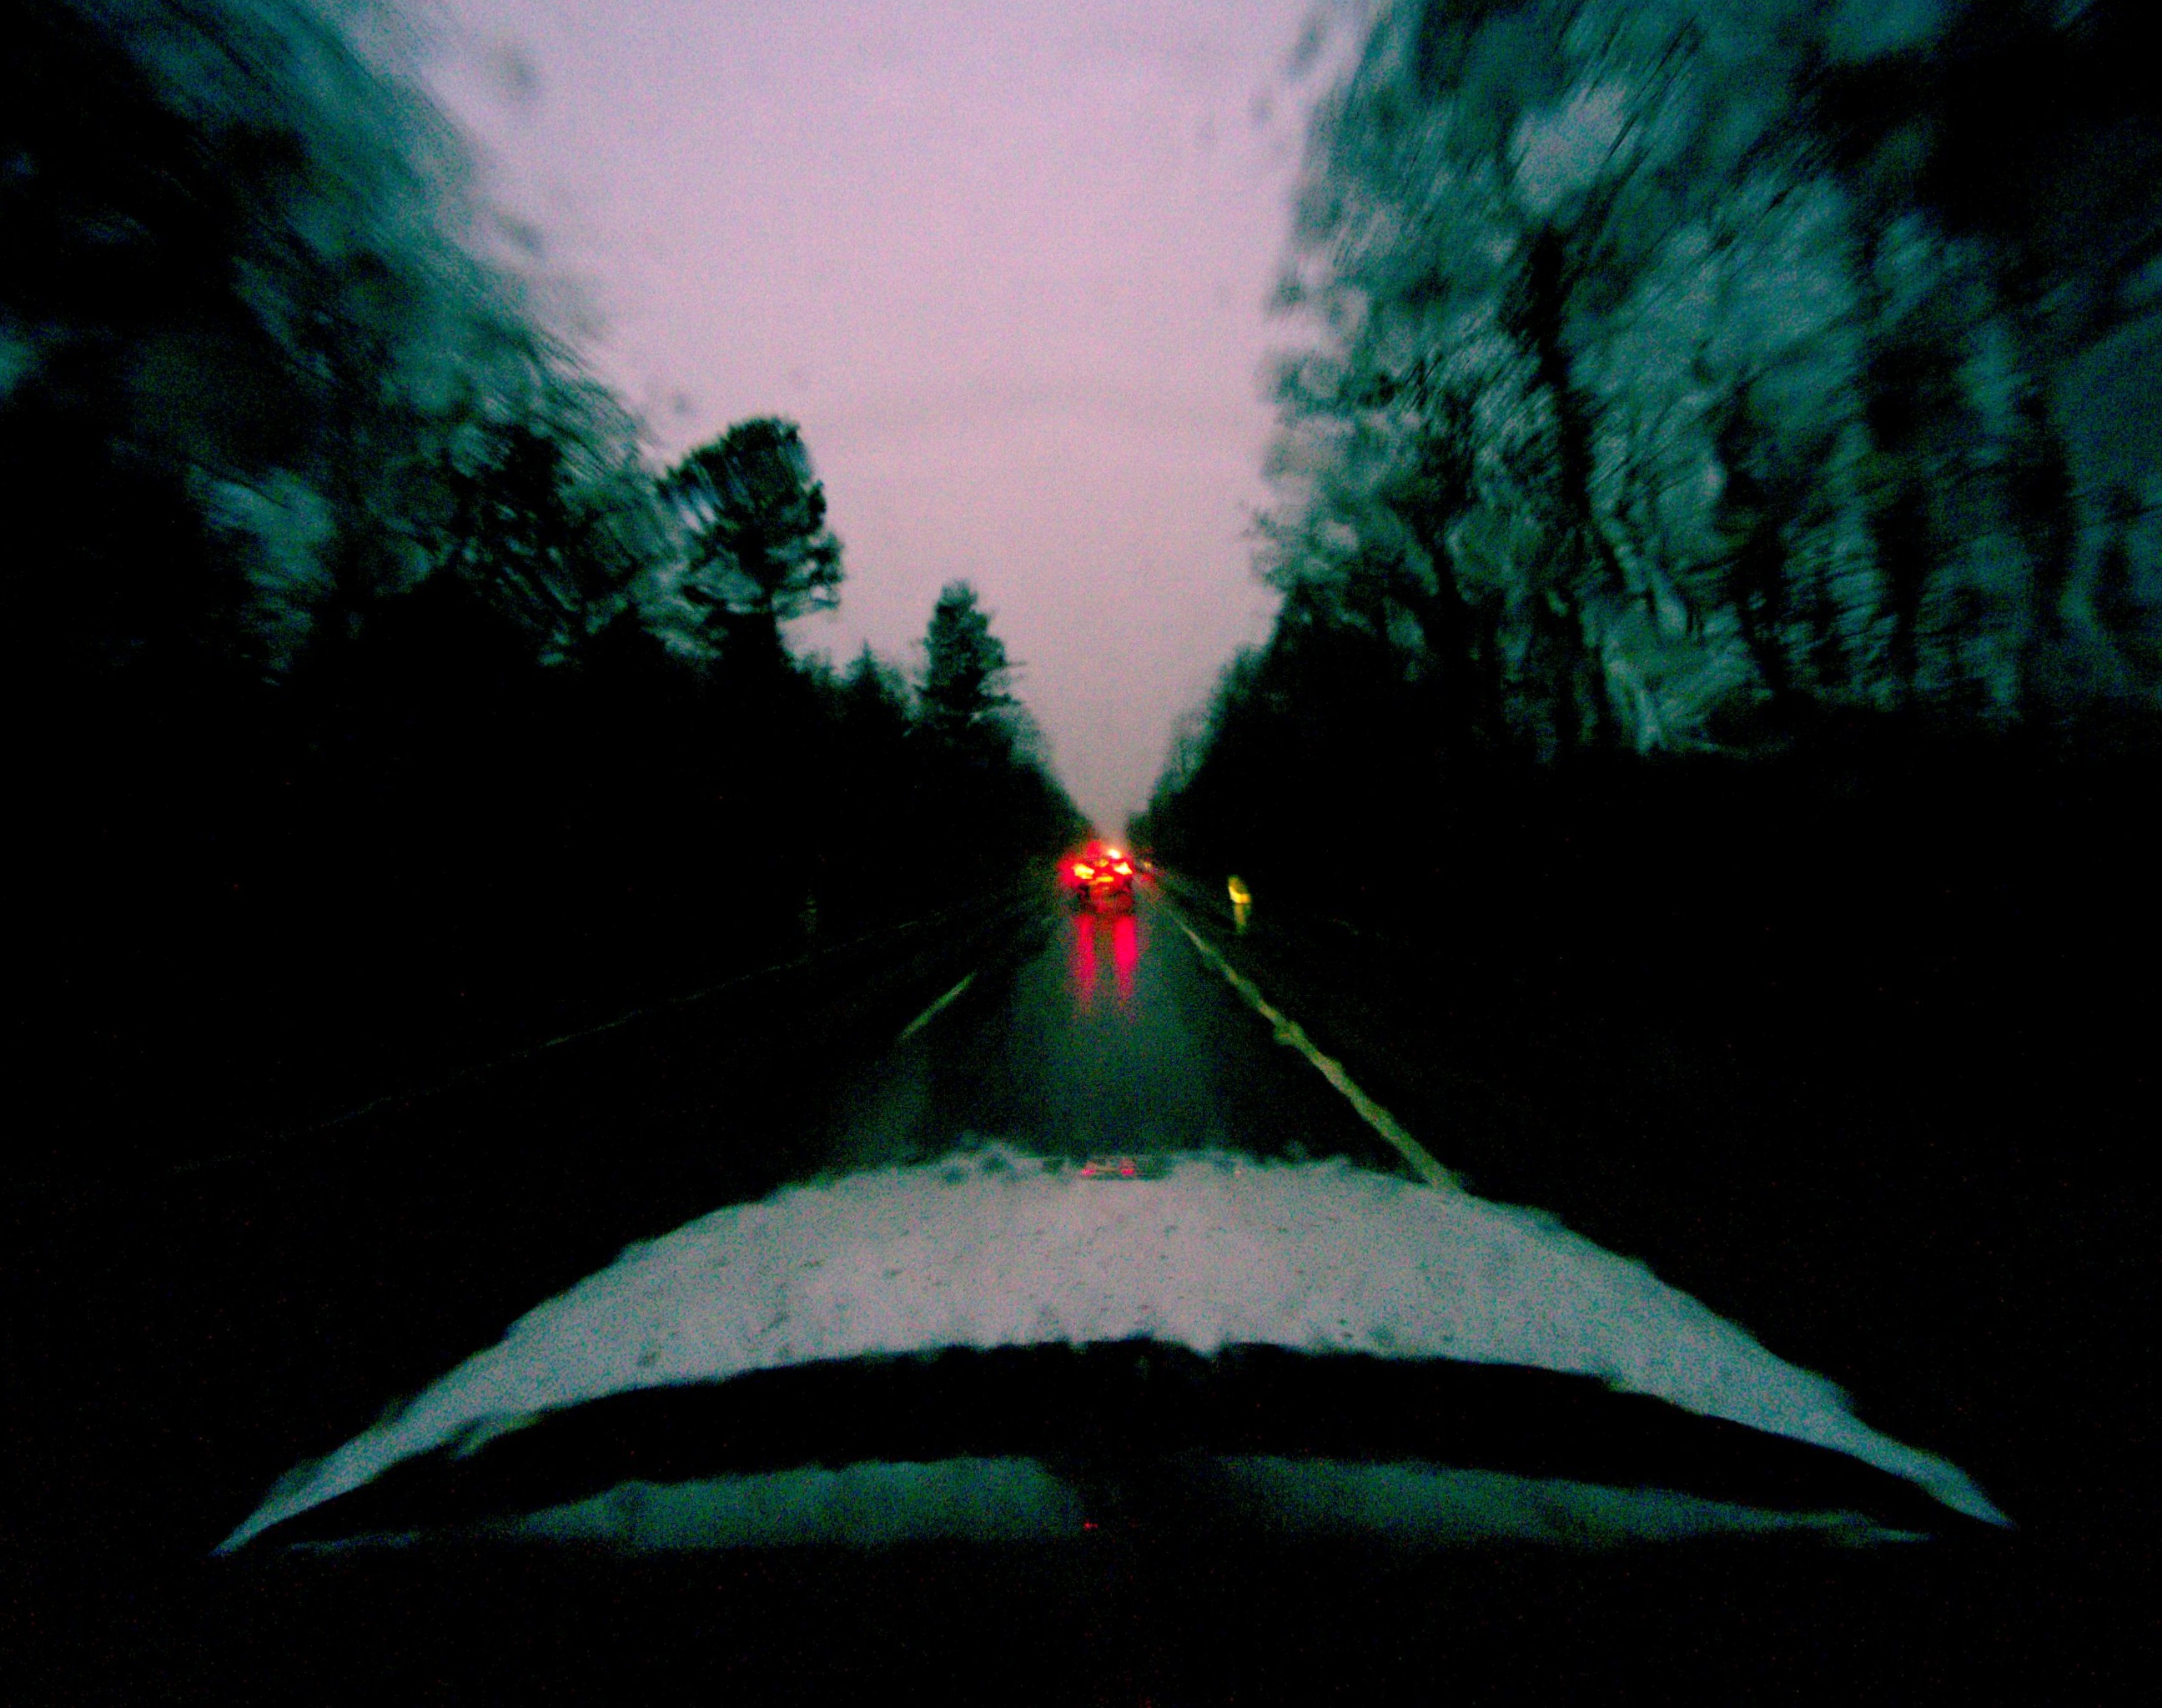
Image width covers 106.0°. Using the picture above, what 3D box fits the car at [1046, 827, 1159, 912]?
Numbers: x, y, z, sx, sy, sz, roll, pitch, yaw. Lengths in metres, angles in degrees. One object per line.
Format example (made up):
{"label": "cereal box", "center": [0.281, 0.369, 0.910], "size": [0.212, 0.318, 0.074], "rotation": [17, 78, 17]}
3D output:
{"label": "car", "center": [0.733, 0.446, 26.426], "size": [3.171, 2.386, 6.640], "rotation": [-1, 0, 2]}
